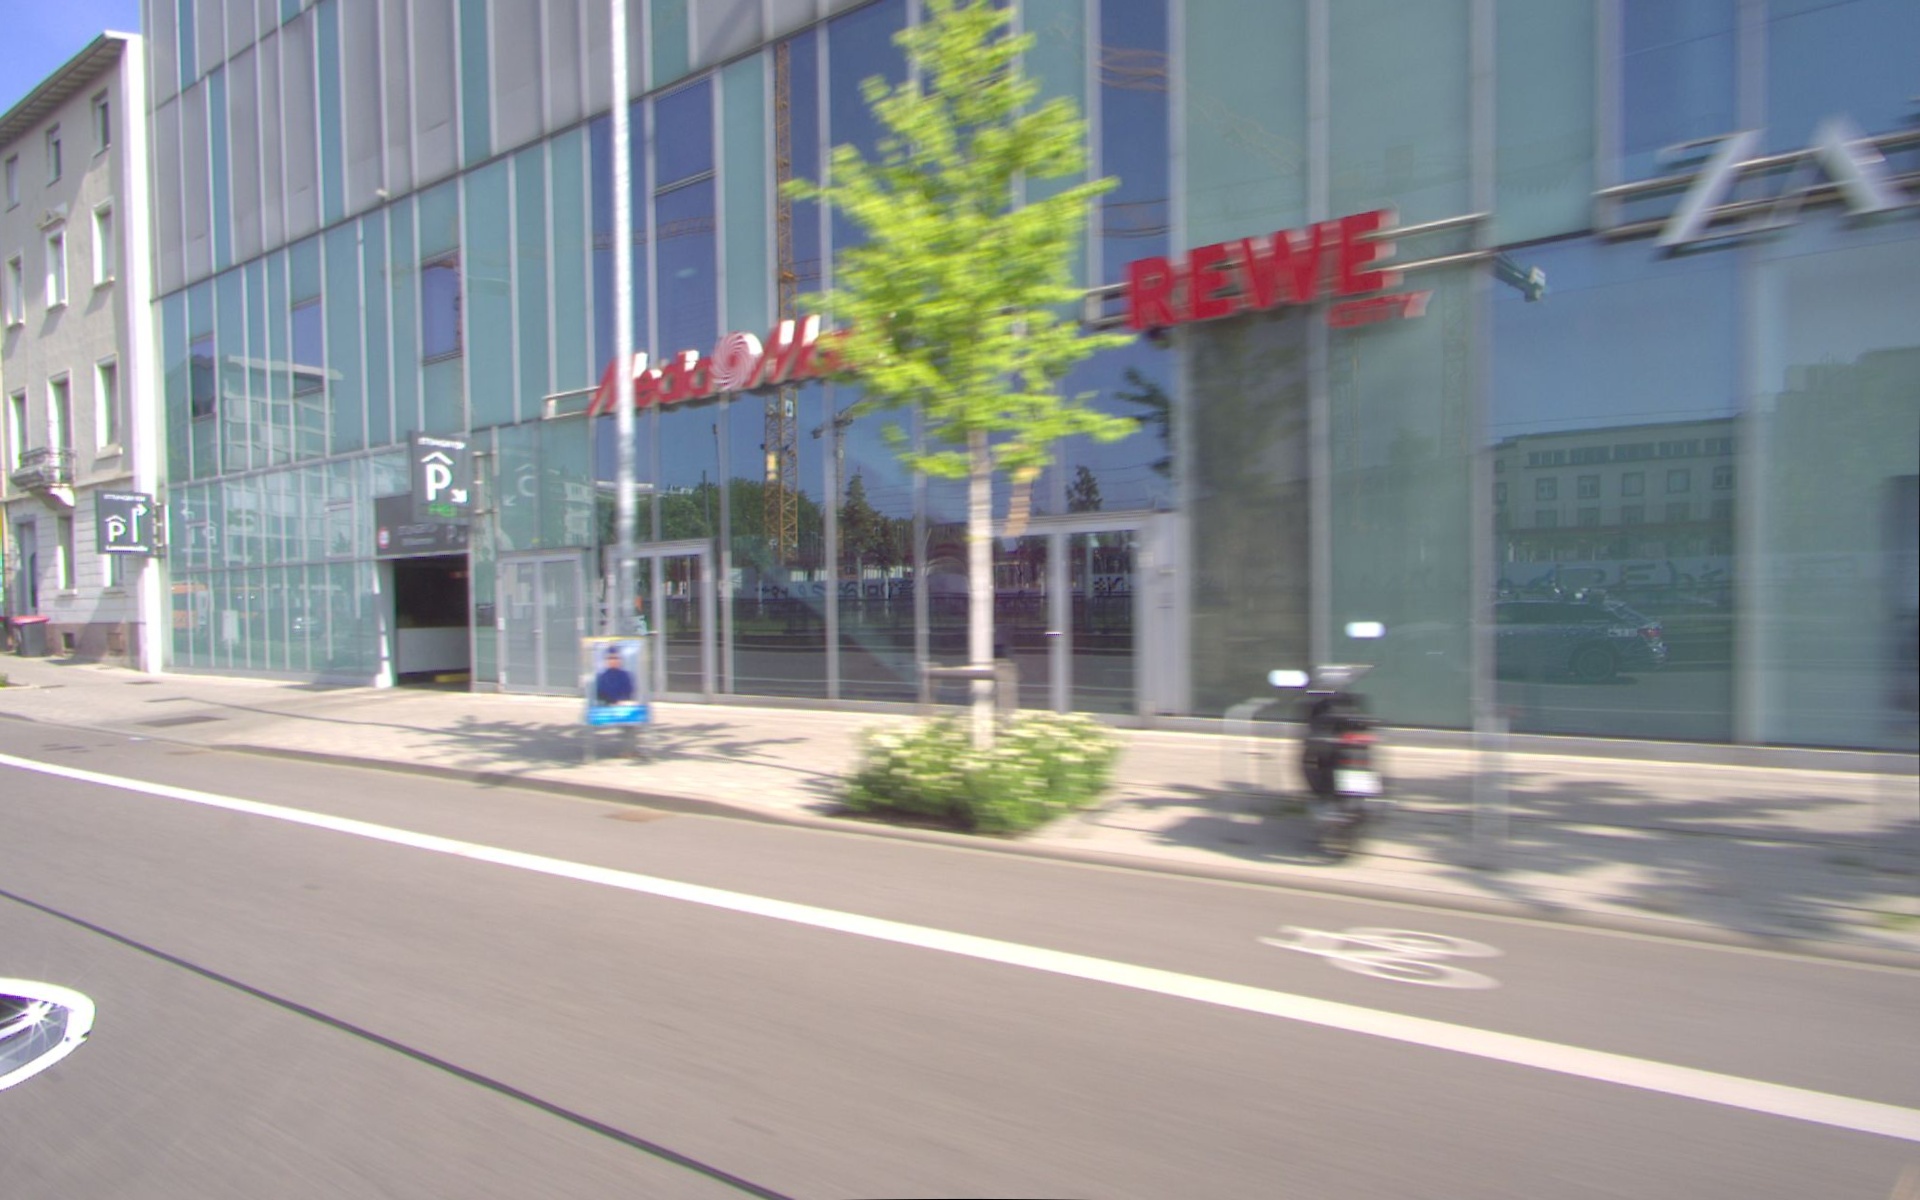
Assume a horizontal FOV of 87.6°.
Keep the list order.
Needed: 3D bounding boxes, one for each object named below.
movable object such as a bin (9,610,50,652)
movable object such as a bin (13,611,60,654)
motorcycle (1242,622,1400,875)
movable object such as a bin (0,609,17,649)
[{"bbox_3d":[-26.827,0.887,28.873,0.661,1.168,0.703,2,1,32],"label":"movable object such as a bin"},{"bbox_3d":[-26.074,0.904,28.273,0.796,1.188,0.780,2,1,32],"label":"movable object such as a bin"},{"bbox_3d":[2.425,0.857,6.676,0.853,1.367,1.970,0,0,22],"label":"motorcycle"},{"bbox_3d":[-28.920,0.854,30.082,0.606,1.168,0.670,1,1,-11],"label":"movable object such as a bin"}]
